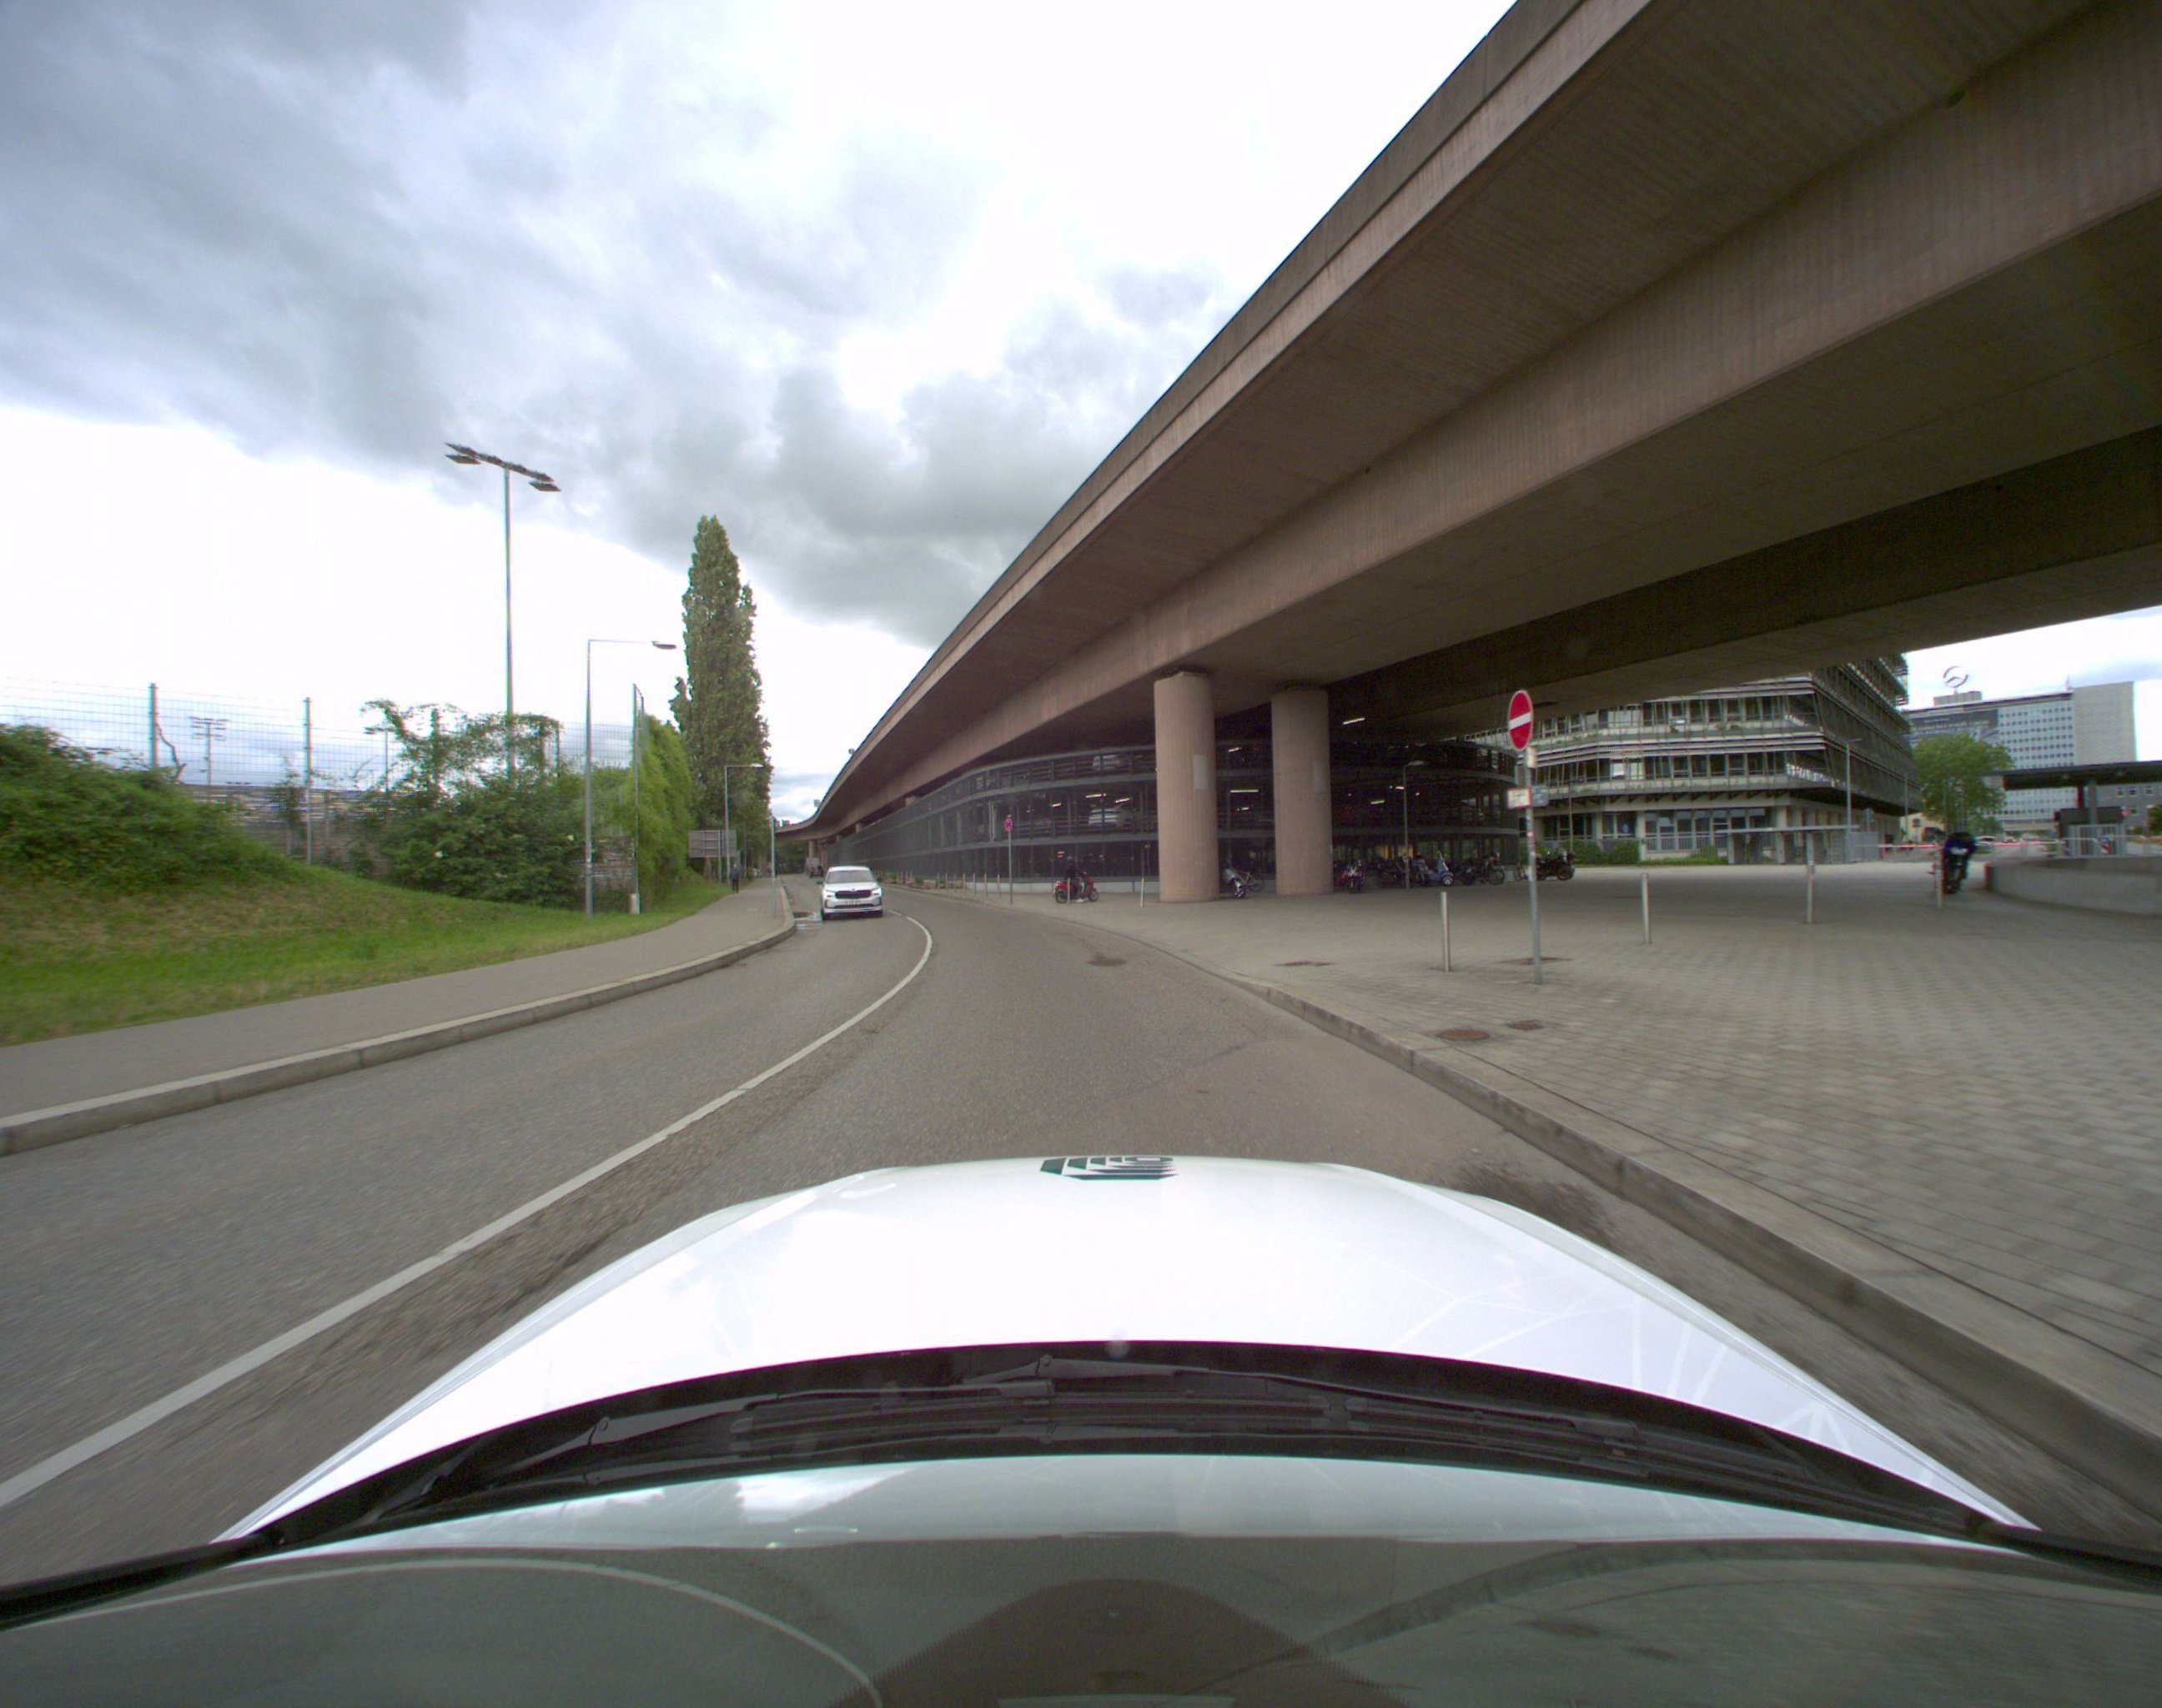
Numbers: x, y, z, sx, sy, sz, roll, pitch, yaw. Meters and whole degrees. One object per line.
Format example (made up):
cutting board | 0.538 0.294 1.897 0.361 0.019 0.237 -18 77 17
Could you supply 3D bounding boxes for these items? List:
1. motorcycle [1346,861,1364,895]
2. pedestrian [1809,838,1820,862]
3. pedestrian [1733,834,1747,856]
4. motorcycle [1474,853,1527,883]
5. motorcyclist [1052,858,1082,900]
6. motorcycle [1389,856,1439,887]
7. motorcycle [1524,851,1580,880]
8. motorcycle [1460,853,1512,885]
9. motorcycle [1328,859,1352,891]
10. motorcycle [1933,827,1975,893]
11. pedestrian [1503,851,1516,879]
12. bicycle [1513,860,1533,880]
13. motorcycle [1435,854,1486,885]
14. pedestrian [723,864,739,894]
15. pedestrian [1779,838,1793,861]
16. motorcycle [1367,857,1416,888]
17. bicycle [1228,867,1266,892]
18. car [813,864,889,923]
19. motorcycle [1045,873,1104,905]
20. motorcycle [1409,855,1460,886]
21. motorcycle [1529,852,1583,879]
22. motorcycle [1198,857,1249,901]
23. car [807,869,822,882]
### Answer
motorcycle | 9.629 0.840 28.647 0.516 1.171 1.155 -1 -2 16
pedestrian | 46.510 -0.260 51.637 0.490 1.481 0.548 -1 1 38
pedestrian | 45.071 -0.614 55.675 0.542 1.481 0.496 -2 0 -5
motorcycle | 17.936 0.570 34.867 0.674 1.220 2.064 -2 1 -20
motorcyclist | -0.502 0.871 28.608 0.868 1.419 0.760 -2 0 -14
motorcycle | 13.682 0.706 33.547 0.674 1.220 2.065 -2 1 -20
motorcycle | 21.730 0.511 37.655 0.674 1.275 2.347 -2 1 -20
motorcycle | 17.119 0.597 34.511 0.674 1.286 2.065 -2 1 -20
motorcycle | 10.292 0.816 32.359 0.519 1.220 1.149 -2 1 -3
motorcycle | 17.746 0.088 16.558 1.952 1.264 0.541 -2 1 -43
pedestrian | 31.762 0.804 60.393 0.527 2.014 0.571 -1 -1 -11
bicycle | 21.748 0.776 40.020 0.469 0.895 1.514 -1 1 44
motorcycle | 15.877 0.637 34.130 0.674 1.220 2.065 -2 1 -20
pedestrian | -21.235 1.501 49.374 0.807 1.781 0.914 -2 0 -21
pedestrian | 45.992 -0.275 53.107 0.546 1.481 0.492 -2 0 -29
motorcycle | 12.704 0.736 33.372 0.674 1.220 2.065 -2 1 -20
bicycle | 6.932 1.071 34.056 1.465 0.976 0.452 -2 0 4
car | -7.596 1.236 26.620 1.872 1.683 4.371 -2 -1 -23
motorcycle | -0.239 1.232 28.675 1.953 1.022 0.745 -2 1 -15
motorcycle | 14.697 0.673 33.900 0.674 1.220 2.065 -2 1 -20
motorcycle | 22.534 0.512 38.685 0.674 1.220 2.347 -2 1 -20
motorcycle | 4.891 0.836 28.084 0.647 1.455 1.743 -2 1 -37
car | -38.139 3.084 116.364 1.846 1.711 3.680 -2 1 -21
